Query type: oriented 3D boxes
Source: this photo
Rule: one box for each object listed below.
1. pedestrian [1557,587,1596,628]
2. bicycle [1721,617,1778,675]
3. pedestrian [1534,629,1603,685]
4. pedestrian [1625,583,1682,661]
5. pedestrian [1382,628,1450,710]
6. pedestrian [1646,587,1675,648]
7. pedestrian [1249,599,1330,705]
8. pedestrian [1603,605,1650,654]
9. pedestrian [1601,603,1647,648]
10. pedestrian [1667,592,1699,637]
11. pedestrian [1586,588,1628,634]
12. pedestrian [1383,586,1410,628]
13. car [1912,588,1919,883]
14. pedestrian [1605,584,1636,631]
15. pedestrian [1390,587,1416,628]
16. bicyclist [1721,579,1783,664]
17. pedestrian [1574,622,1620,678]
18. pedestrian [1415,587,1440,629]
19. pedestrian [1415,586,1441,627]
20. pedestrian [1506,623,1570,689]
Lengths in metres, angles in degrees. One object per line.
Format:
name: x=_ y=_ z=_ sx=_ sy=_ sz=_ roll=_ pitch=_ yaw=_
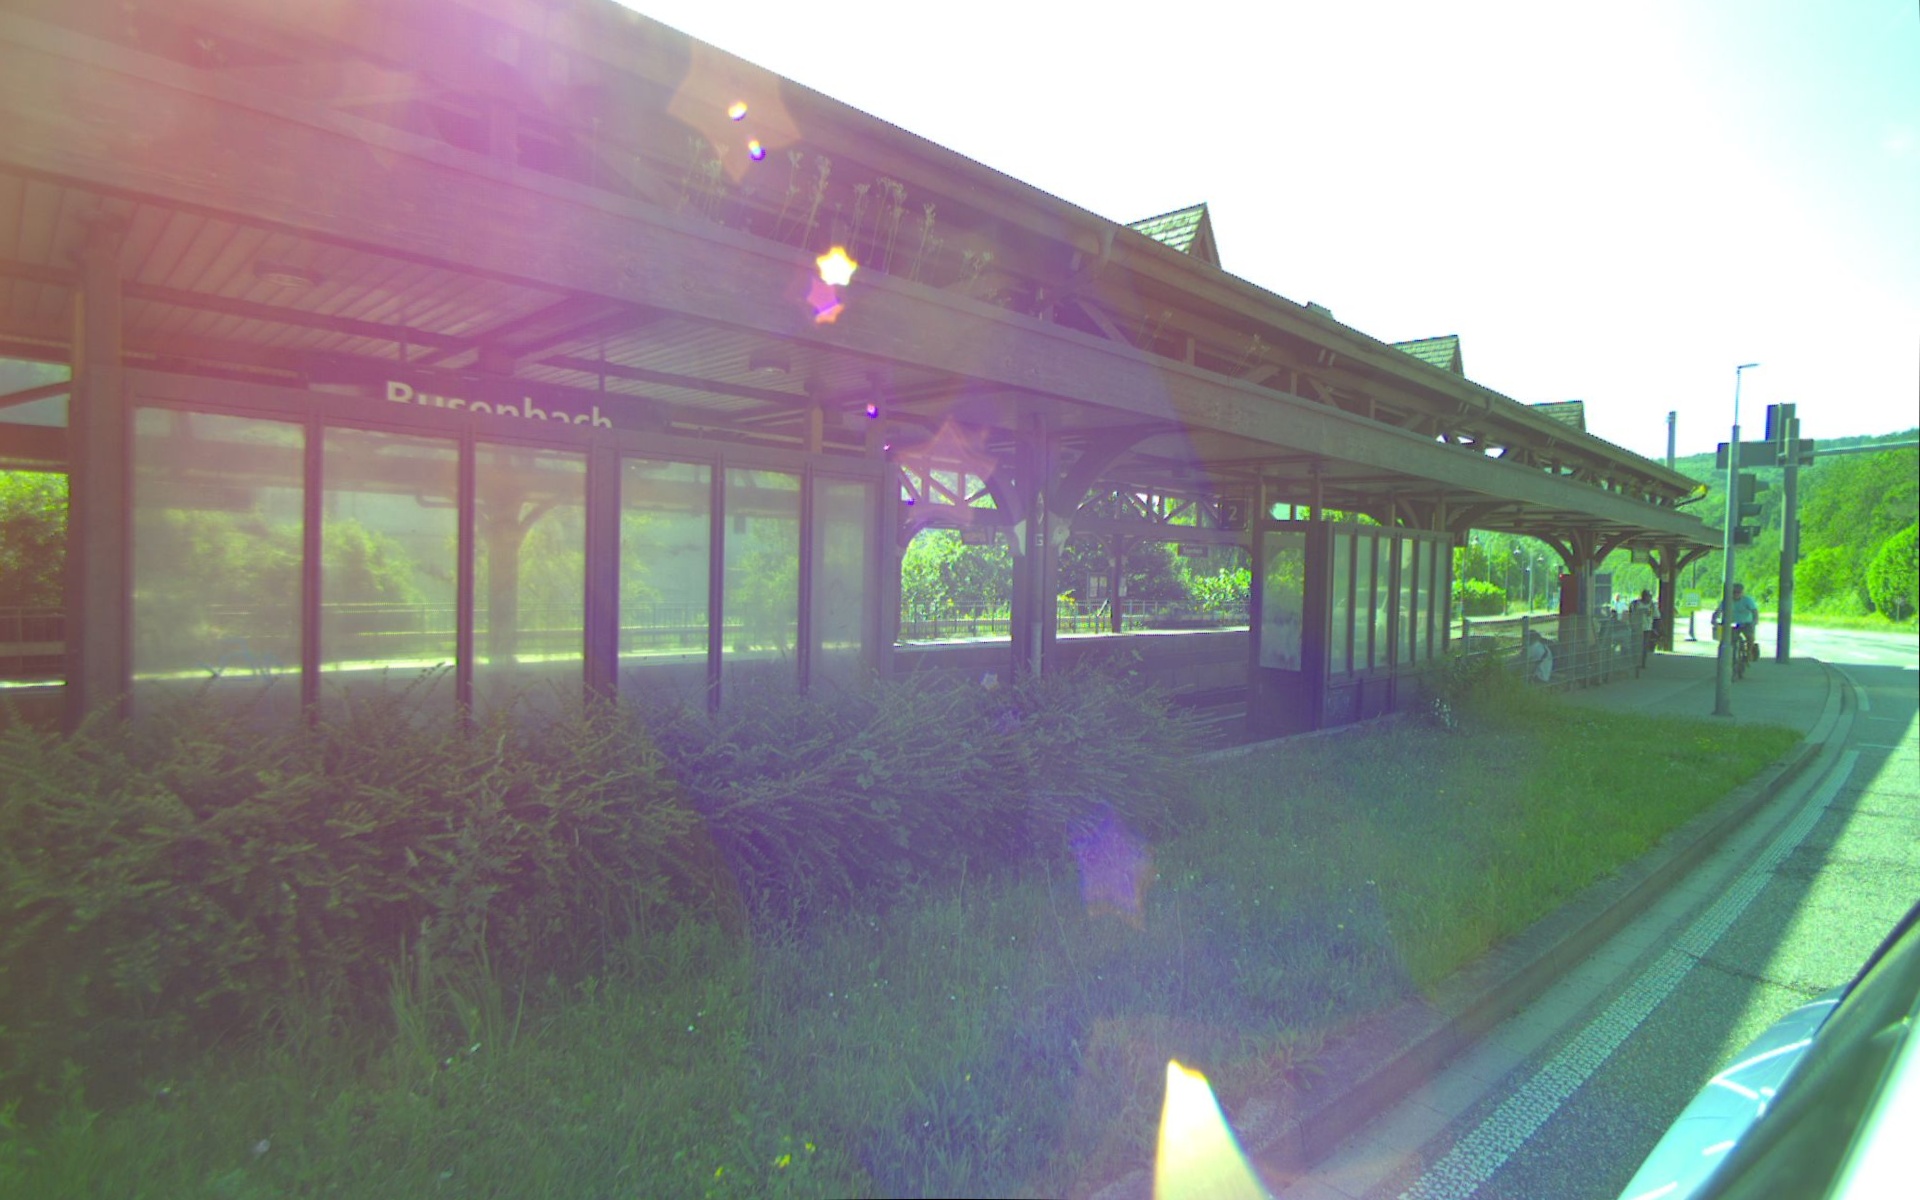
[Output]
pedestrian: x=26.618 y=0.329 z=43.682 sx=1.104 sy=1.706 sz=0.903 roll=0 pitch=-2 yaw=3
bicycle: x=15.327 y=0.867 z=19.632 sx=1.784 sy=1.069 sz=0.602 roll=0 pitch=-1 yaw=-44
pedestrian: x=10.097 y=0.923 z=16.782 sx=0.844 sy=0.885 sz=0.795 roll=-1 pitch=-2 yaw=42
pedestrian: x=16.126 y=0.507 z=23.521 sx=0.913 sy=1.759 sz=1.232 roll=-1 pitch=-2 yaw=42
pedestrian: x=6.592 y=0.974 z=14.633 sx=0.741 sy=1.131 sz=0.657 roll=-1 pitch=-2 yaw=42
pedestrian: x=20.146 y=0.505 z=29.115 sx=0.655 sy=1.713 sz=0.730 roll=1 pitch=1 yaw=35
pedestrian: x=5.134 y=0.793 z=15.762 sx=0.860 sy=1.567 sz=0.908 roll=1 pitch=-1 yaw=43
pedestrian: x=17.414 y=0.765 z=26.446 sx=0.988 sy=1.251 sz=0.589 roll=-1 pitch=-2 yaw=36
pedestrian: x=18.042 y=0.679 z=27.502 sx=1.003 sy=1.174 sz=0.937 roll=1 pitch=0 yaw=35
pedestrian: x=27.762 y=0.553 z=38.886 sx=0.813 sy=1.706 sz=0.896 roll=0 pitch=-2 yaw=24
pedestrian: x=26.765 y=0.445 z=41.875 sx=1.051 sy=1.867 sz=0.992 roll=2 pitch=-1 yaw=-22
pedestrian: x=19.483 y=0.327 z=45.153 sx=0.899 sy=1.873 sz=0.811 roll=-1 pitch=-2 yaw=38
car: x=7.038 y=0.720 z=5.927 sx=4.229 sy=1.501 sz=1.862 roll=0 pitch=1 yaw=-43
pedestrian: x=24.564 y=0.283 z=37.670 sx=0.813 sy=1.706 sz=0.896 roll=0 pitch=-2 yaw=24
pedestrian: x=20.313 y=0.360 z=46.387 sx=0.899 sy=1.873 sz=0.811 roll=-1 pitch=-2 yaw=38
bicyclist: x=15.298 y=0.415 z=19.546 sx=0.931 sy=1.589 sz=0.785 roll=0 pitch=-1 yaw=-44
pedestrian: x=11.297 y=0.876 z=17.955 sx=0.616 sy=0.978 sz=0.400 roll=-1 pitch=-2 yaw=42
pedestrian: x=21.279 y=0.360 z=46.072 sx=0.899 sy=1.873 sz=0.811 roll=-1 pitch=-2 yaw=38
pedestrian: x=21.847 y=0.299 z=47.243 sx=0.899 sy=1.873 sz=0.811 roll=-1 pitch=-2 yaw=38
pedestrian: x=9.110 y=0.868 z=15.949 sx=0.741 sy=0.995 sz=0.757 roll=-1 pitch=-2 yaw=42
